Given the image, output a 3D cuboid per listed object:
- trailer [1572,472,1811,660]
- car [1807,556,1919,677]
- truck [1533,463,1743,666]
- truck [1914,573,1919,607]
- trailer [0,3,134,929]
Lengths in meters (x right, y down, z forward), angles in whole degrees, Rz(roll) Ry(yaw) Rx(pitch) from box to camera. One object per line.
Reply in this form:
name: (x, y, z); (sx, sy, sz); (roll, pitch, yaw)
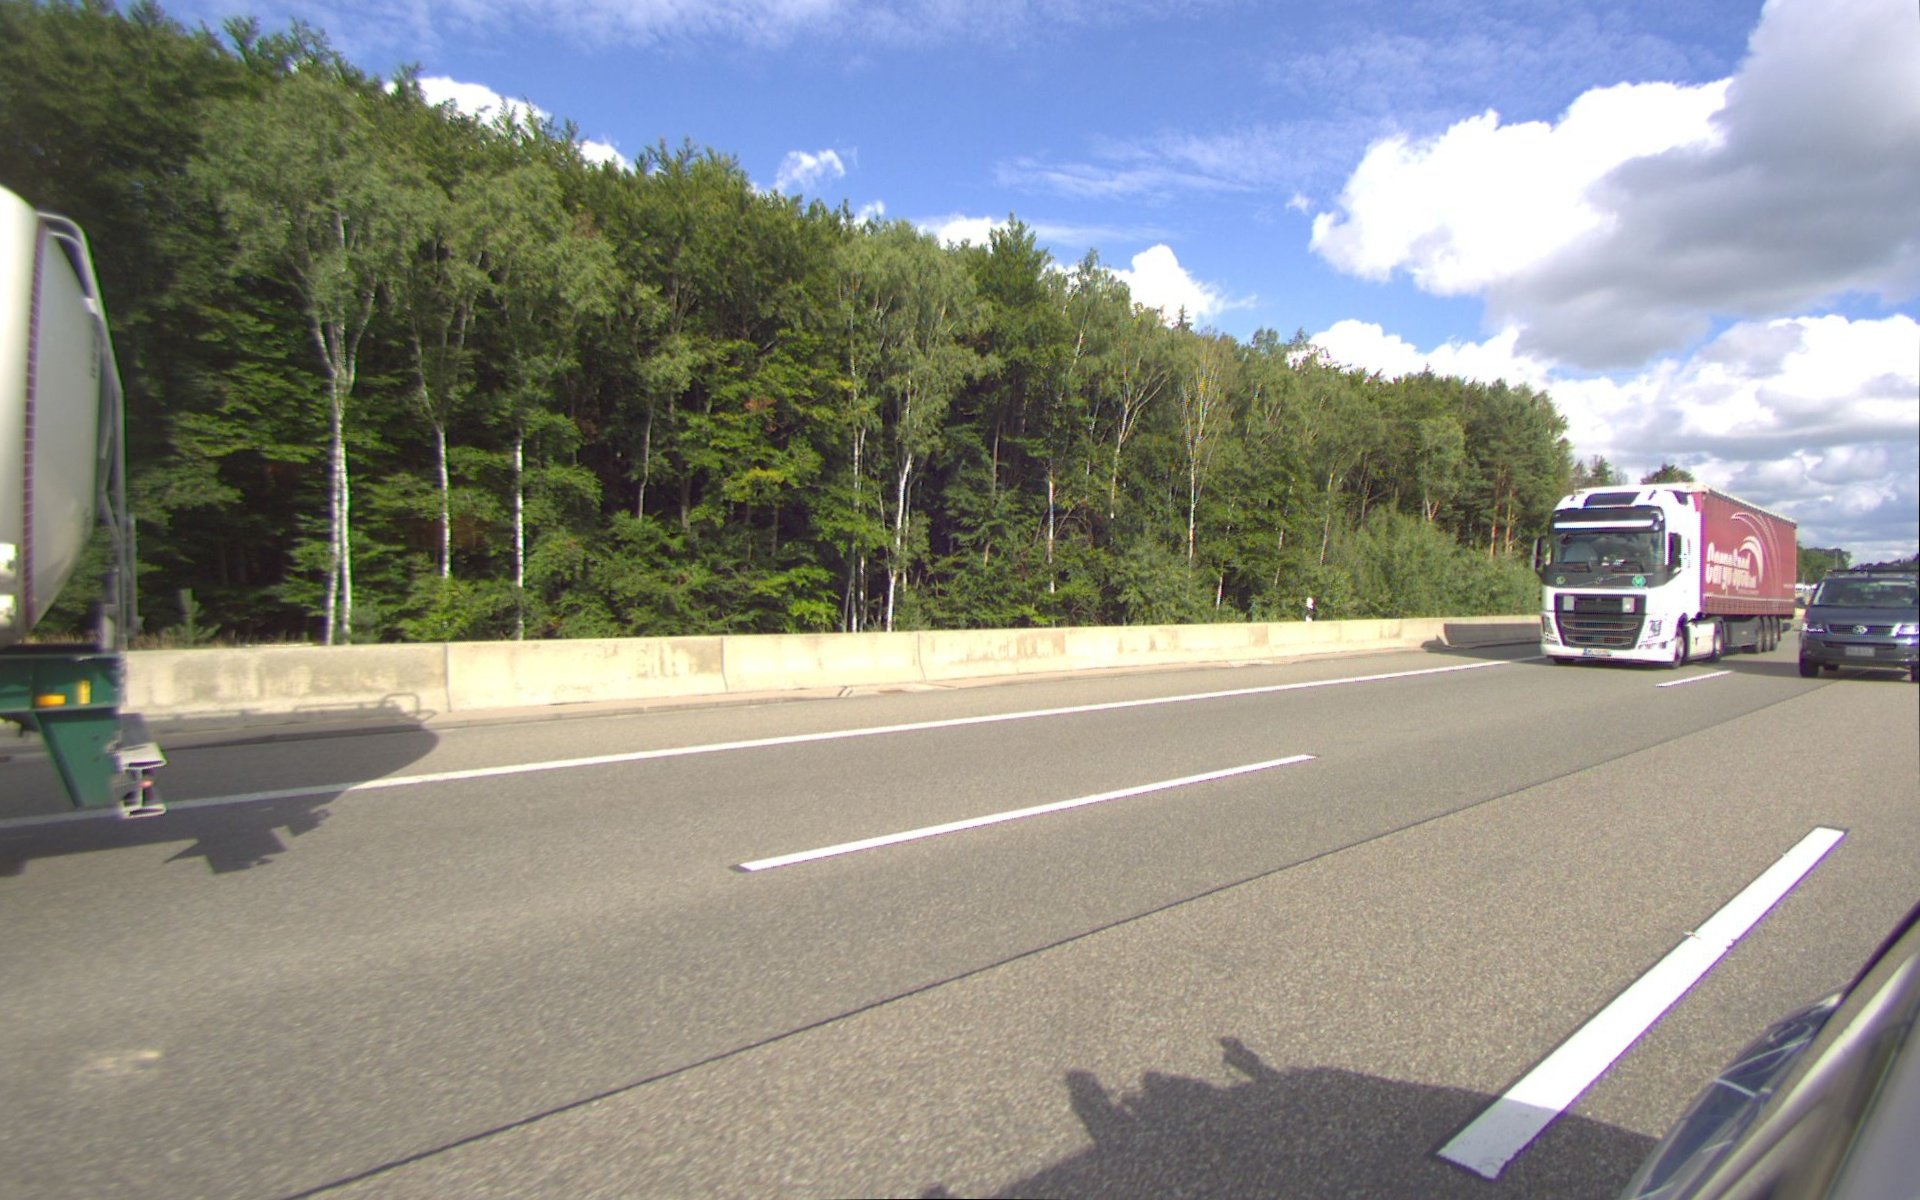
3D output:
trailer: (20.436, -0.780, 27.693); (13.482, 4.096, 2.777); (0, 0, -43)
car: (18.347, 0.274, 20.008); (4.848, 2.136, 1.851); (0, 0, -42)
truck: (15.719, -0.744, 23.332); (5.675, 4.096, 2.777); (0, 0, -42)
truck: (109.712, -1.111, 114.131); (3.010, 3.730, 7.443); (2, 1, 43)
trailer: (-8.878, -0.565, 1.610); (11.653, 3.814, 2.653); (0, 1, -41)
